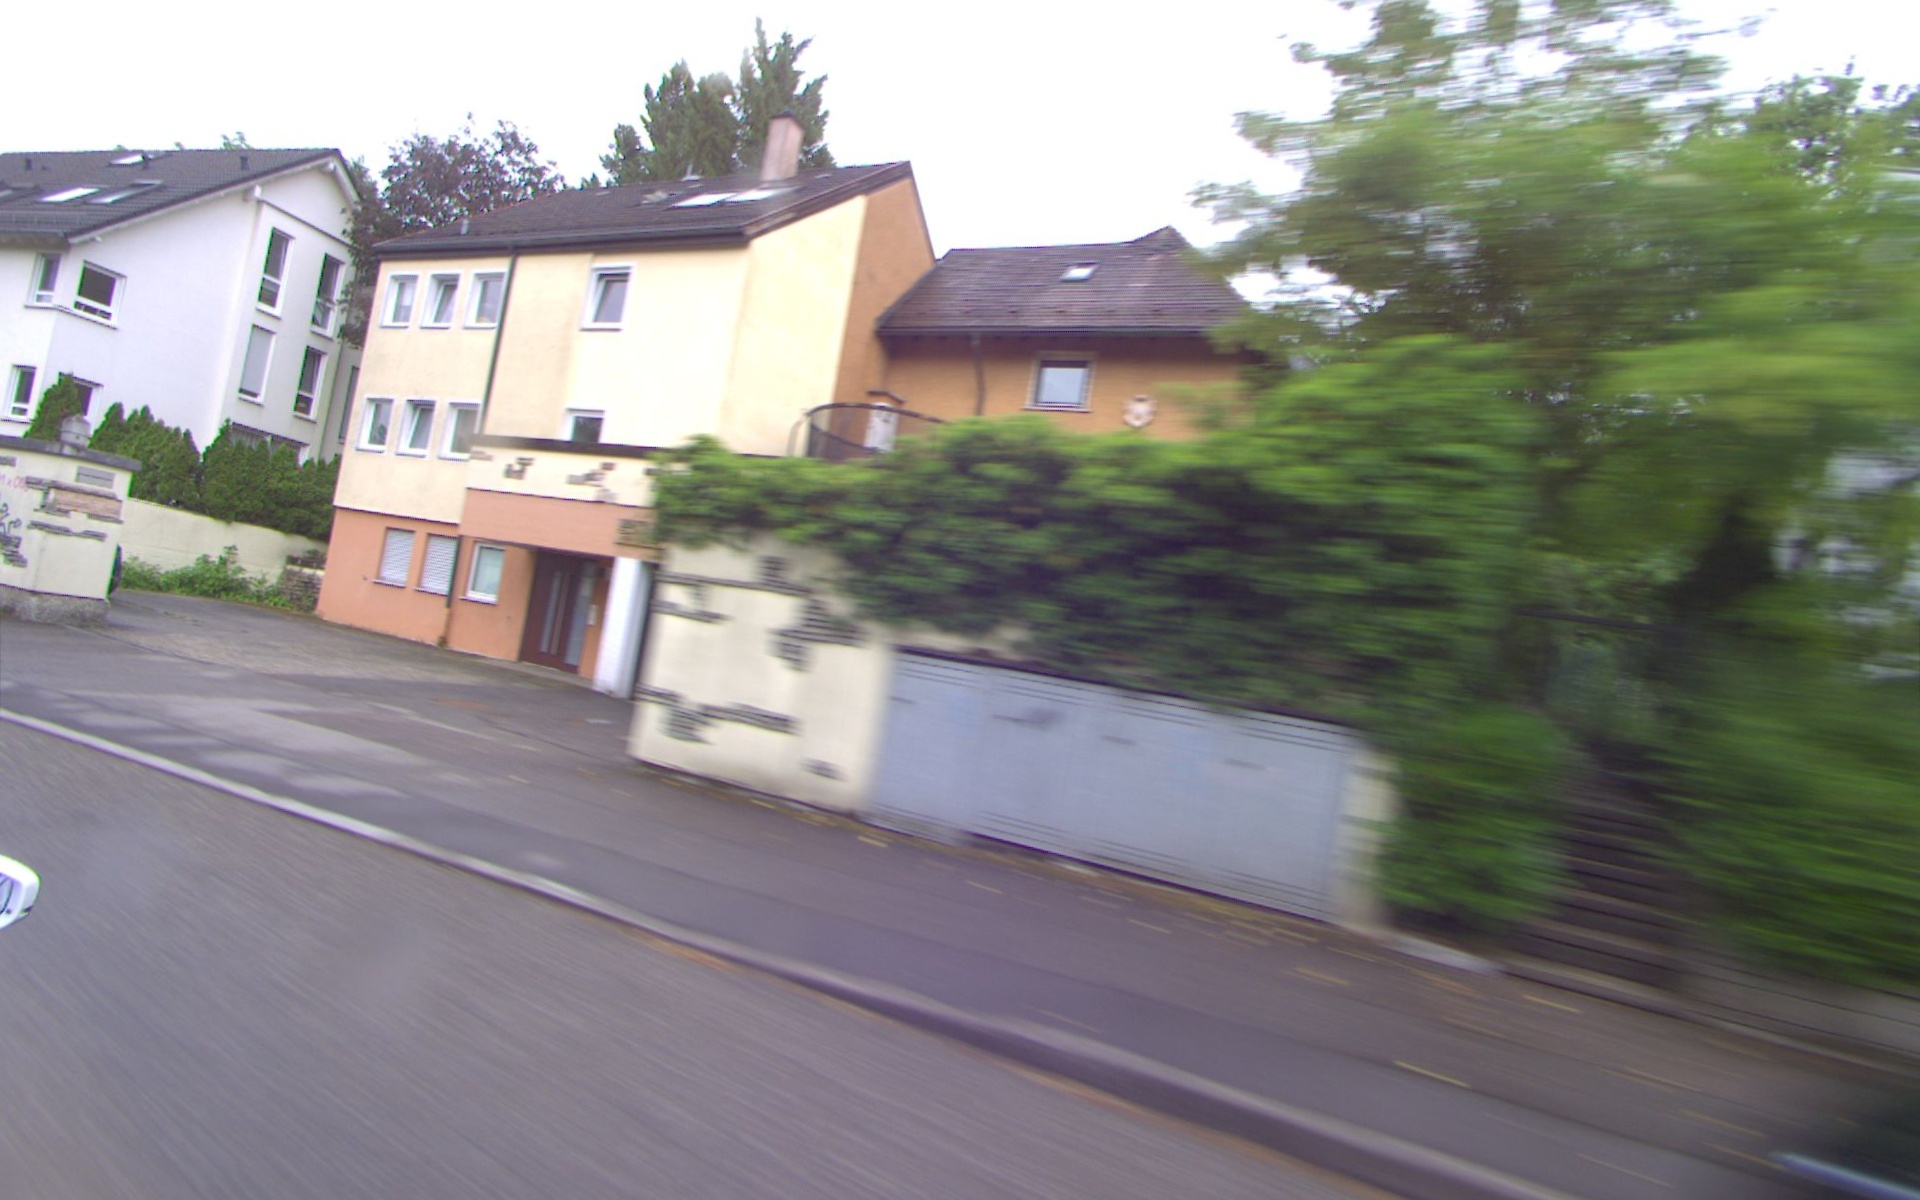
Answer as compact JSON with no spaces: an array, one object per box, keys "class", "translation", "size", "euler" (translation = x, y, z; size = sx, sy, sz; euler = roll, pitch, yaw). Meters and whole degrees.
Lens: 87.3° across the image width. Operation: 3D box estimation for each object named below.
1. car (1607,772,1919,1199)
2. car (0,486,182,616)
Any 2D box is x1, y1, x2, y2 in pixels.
[{"class":"car","translation":[3.409,1.299,0.903],"size":[4.520,1.459,1.758],"euler":[6,-3,27]},{"class":"car","translation":[-15.506,-0.922,16.587],"size":[4.260,1.611,1.944],"euler":[7,-6,17]}]
